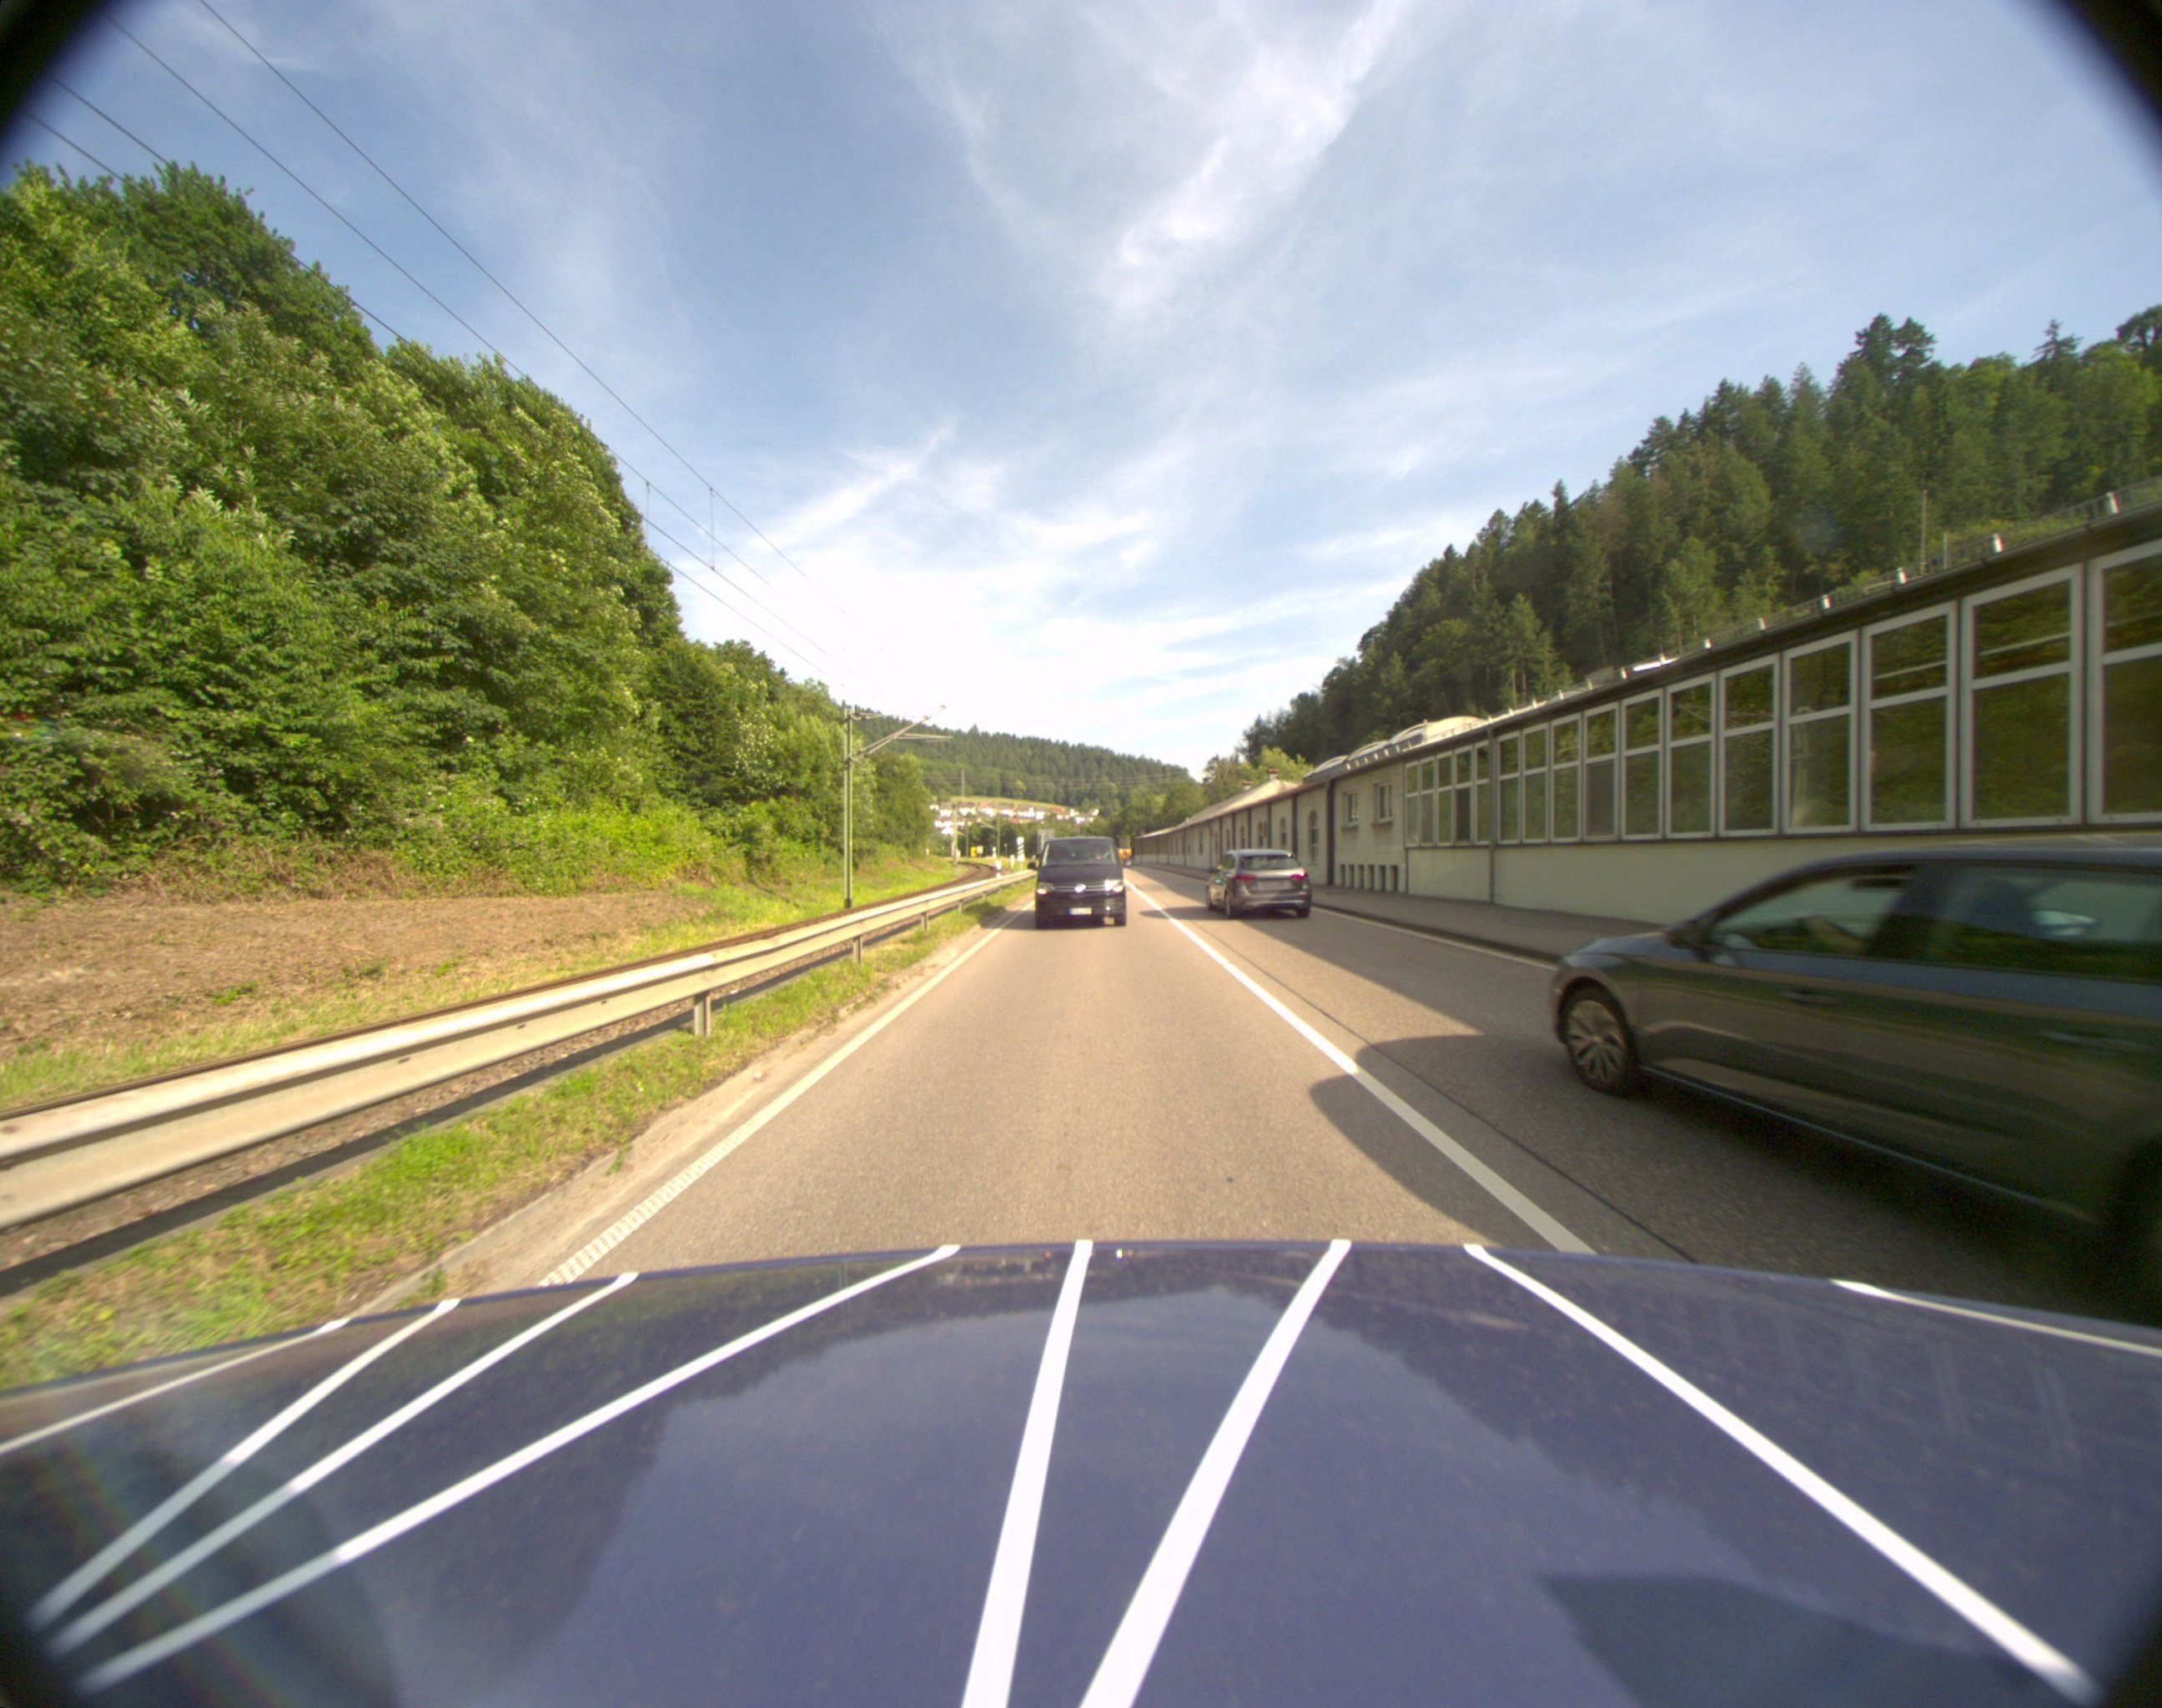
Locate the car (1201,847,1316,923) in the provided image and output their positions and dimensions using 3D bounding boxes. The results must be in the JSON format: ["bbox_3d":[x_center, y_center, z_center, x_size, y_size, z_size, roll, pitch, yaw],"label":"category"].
[{"bbox_3d":[4.030,0.626,17.916,1.723,1.505,4.198,-3,0,1],"label":"car"}]

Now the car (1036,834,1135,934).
[{"bbox_3d":[0.003,0.579,17.540,1.901,1.927,5.187,-2,0,-2],"label":"car"}]

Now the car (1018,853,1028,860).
[{"bbox_3d":[-13.978,0.522,181.782,1.936,1.572,4.454,-3,0,-10],"label":"car"}]

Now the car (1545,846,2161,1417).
[{"bbox_3d":[3.811,0.748,2.759,1.778,1.482,4.051,-3,0,1],"label":"car"}]
